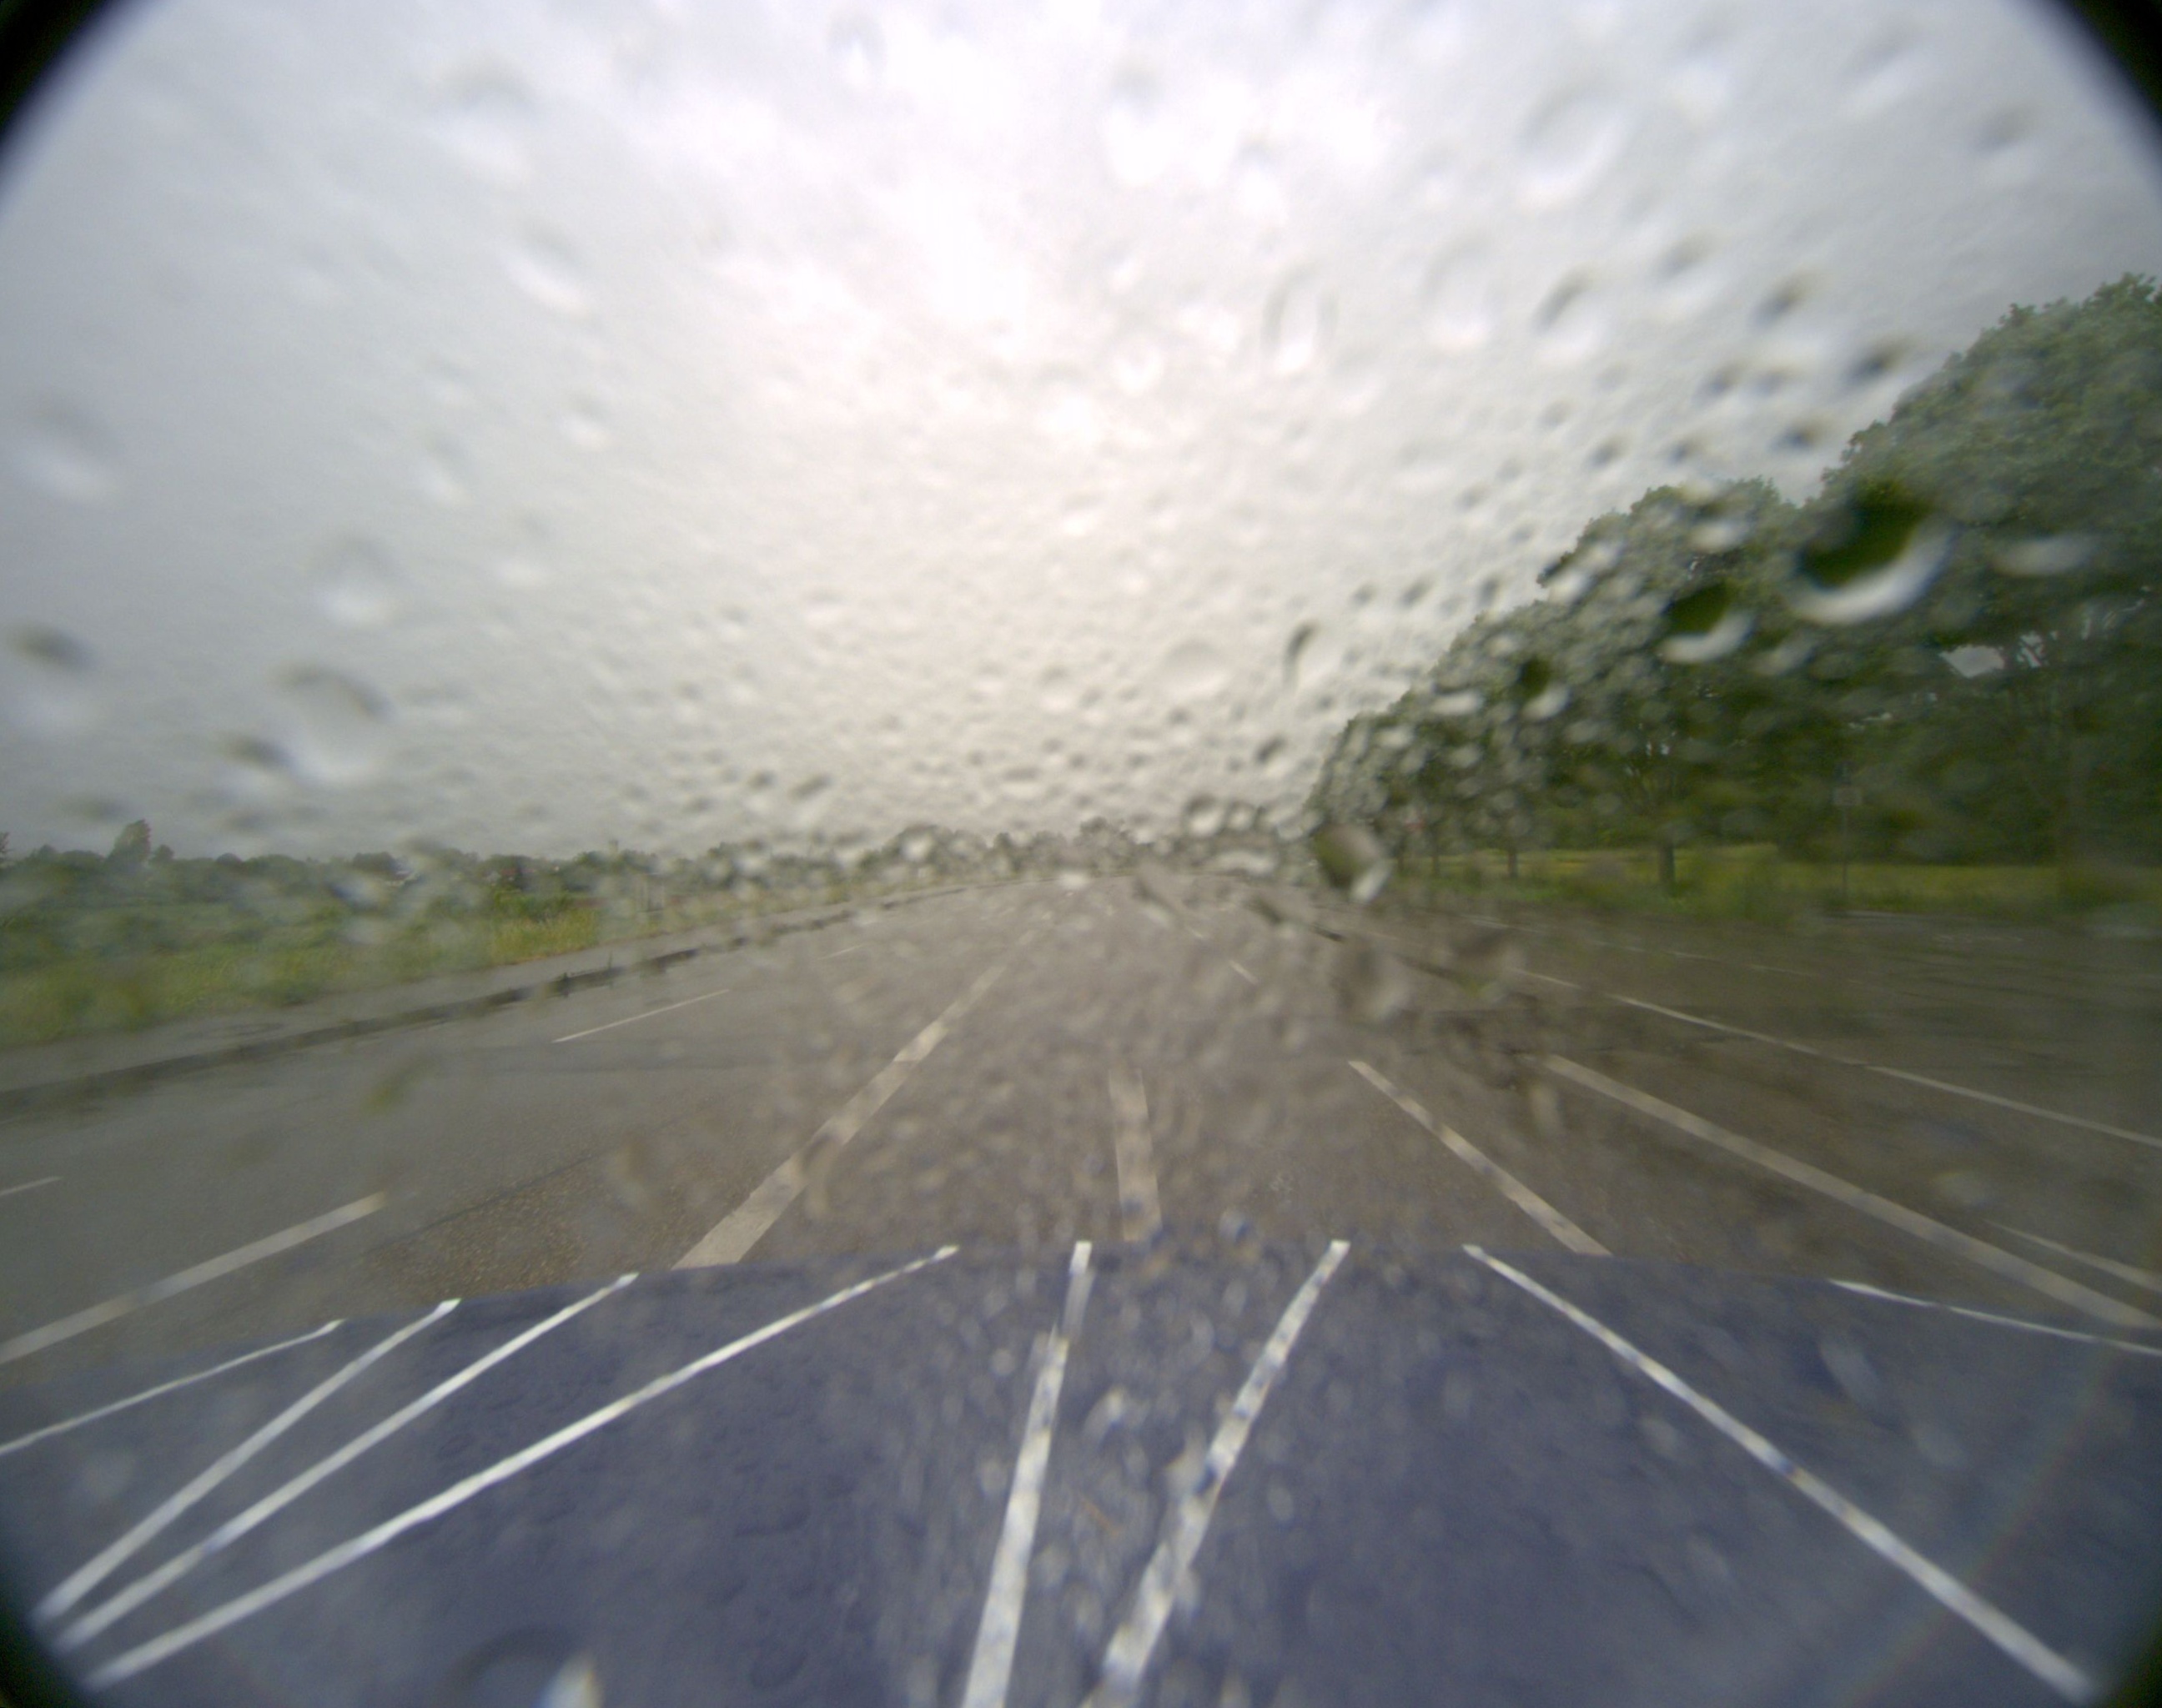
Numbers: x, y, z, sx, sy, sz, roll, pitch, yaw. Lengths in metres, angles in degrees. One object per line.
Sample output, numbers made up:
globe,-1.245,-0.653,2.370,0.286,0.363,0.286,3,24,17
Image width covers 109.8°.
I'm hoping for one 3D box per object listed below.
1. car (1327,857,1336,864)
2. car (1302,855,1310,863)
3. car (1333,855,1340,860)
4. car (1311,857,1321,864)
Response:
car,67.346,1.757,204.068,1.887,1.578,4.123,-3,0,14
car,52.035,1.138,175.668,1.741,1.979,4.015,0,0,15
car,74.049,1.004,219.954,1.741,1.478,4.016,0,0,17
car,50.621,1.379,163.691,1.881,1.564,4.651,0,0,19
